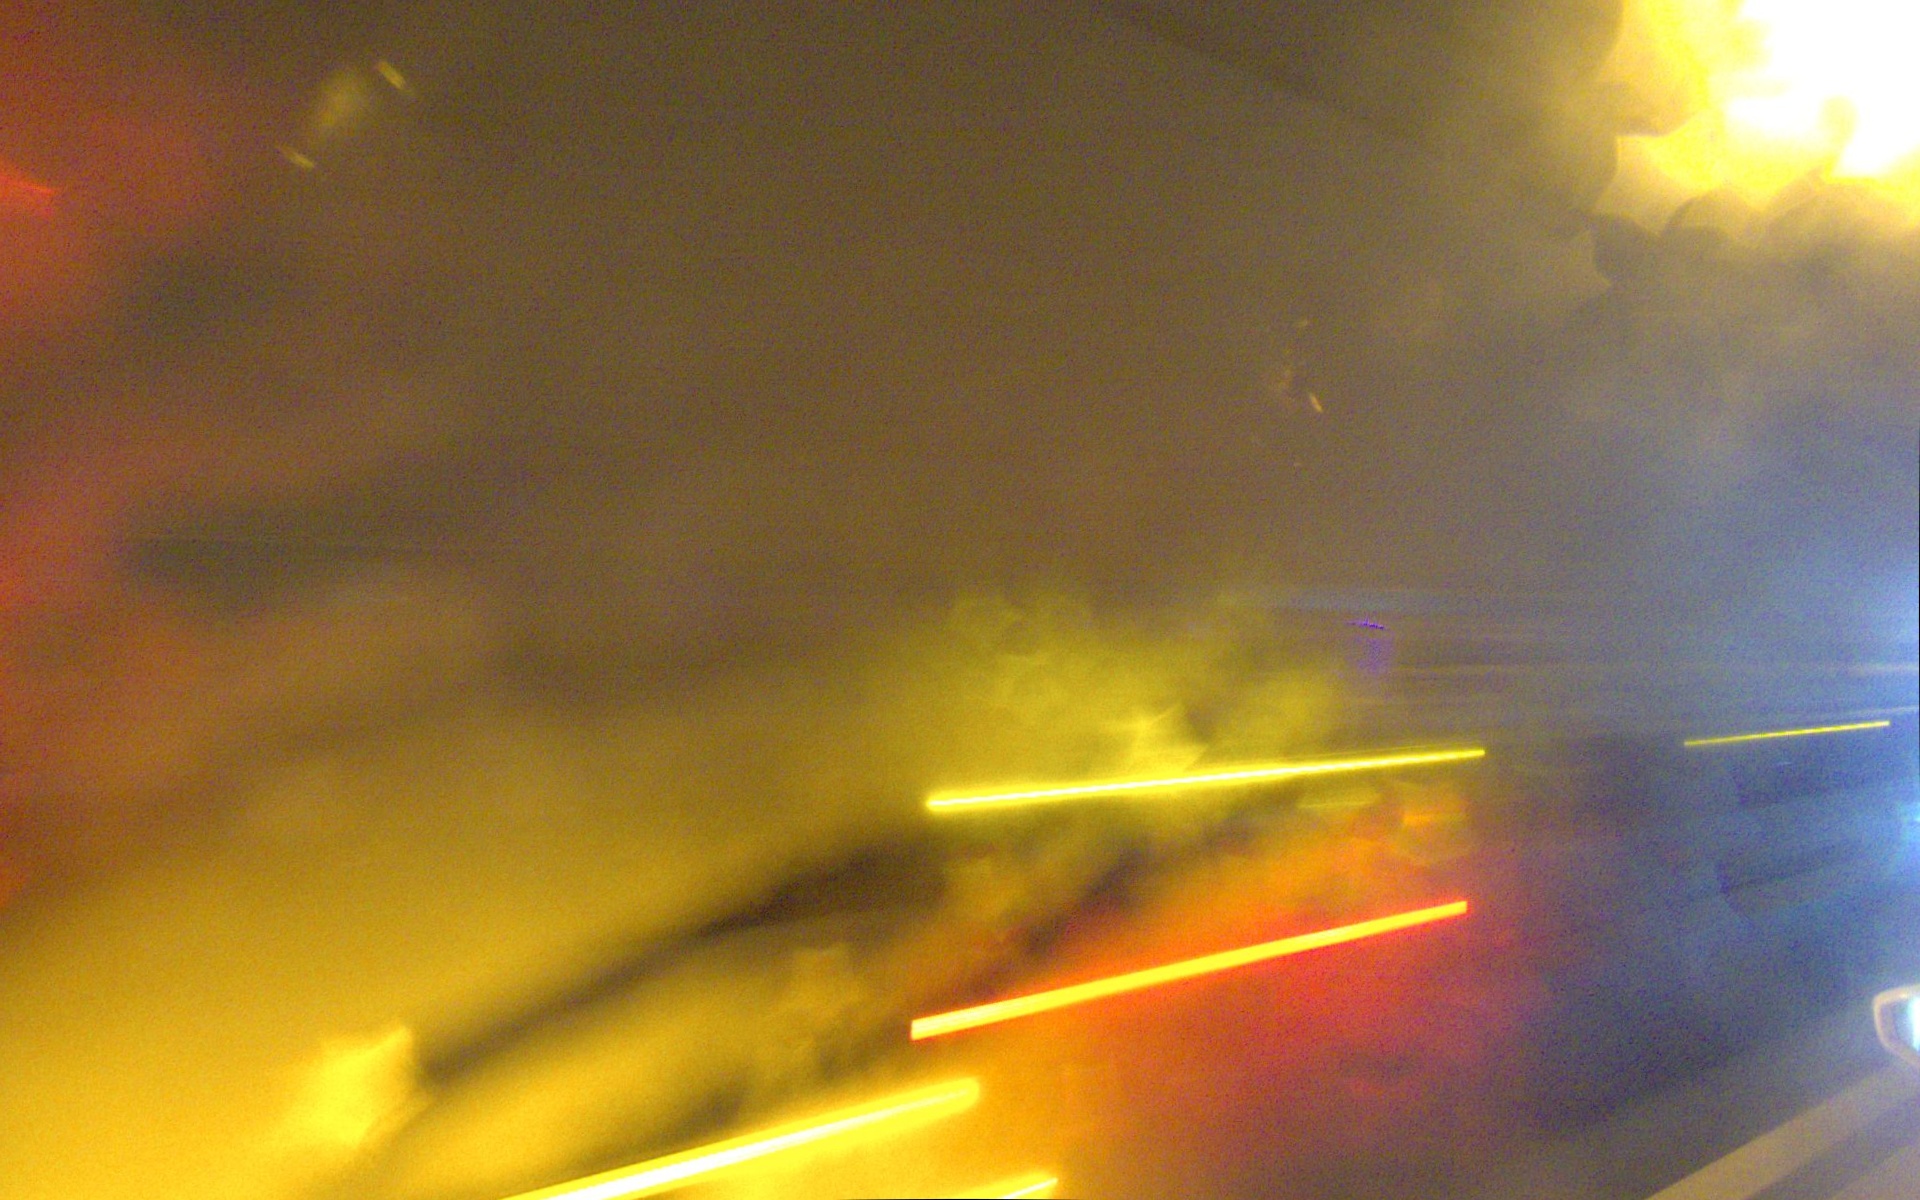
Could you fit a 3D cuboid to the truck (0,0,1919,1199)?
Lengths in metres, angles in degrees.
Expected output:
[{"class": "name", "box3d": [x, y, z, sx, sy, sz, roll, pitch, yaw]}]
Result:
[{"class": "truck", "box3d": [4.340, -0.529, 5.798, 14.964, 4.263, 2.602, 2, -2, -30]}]
